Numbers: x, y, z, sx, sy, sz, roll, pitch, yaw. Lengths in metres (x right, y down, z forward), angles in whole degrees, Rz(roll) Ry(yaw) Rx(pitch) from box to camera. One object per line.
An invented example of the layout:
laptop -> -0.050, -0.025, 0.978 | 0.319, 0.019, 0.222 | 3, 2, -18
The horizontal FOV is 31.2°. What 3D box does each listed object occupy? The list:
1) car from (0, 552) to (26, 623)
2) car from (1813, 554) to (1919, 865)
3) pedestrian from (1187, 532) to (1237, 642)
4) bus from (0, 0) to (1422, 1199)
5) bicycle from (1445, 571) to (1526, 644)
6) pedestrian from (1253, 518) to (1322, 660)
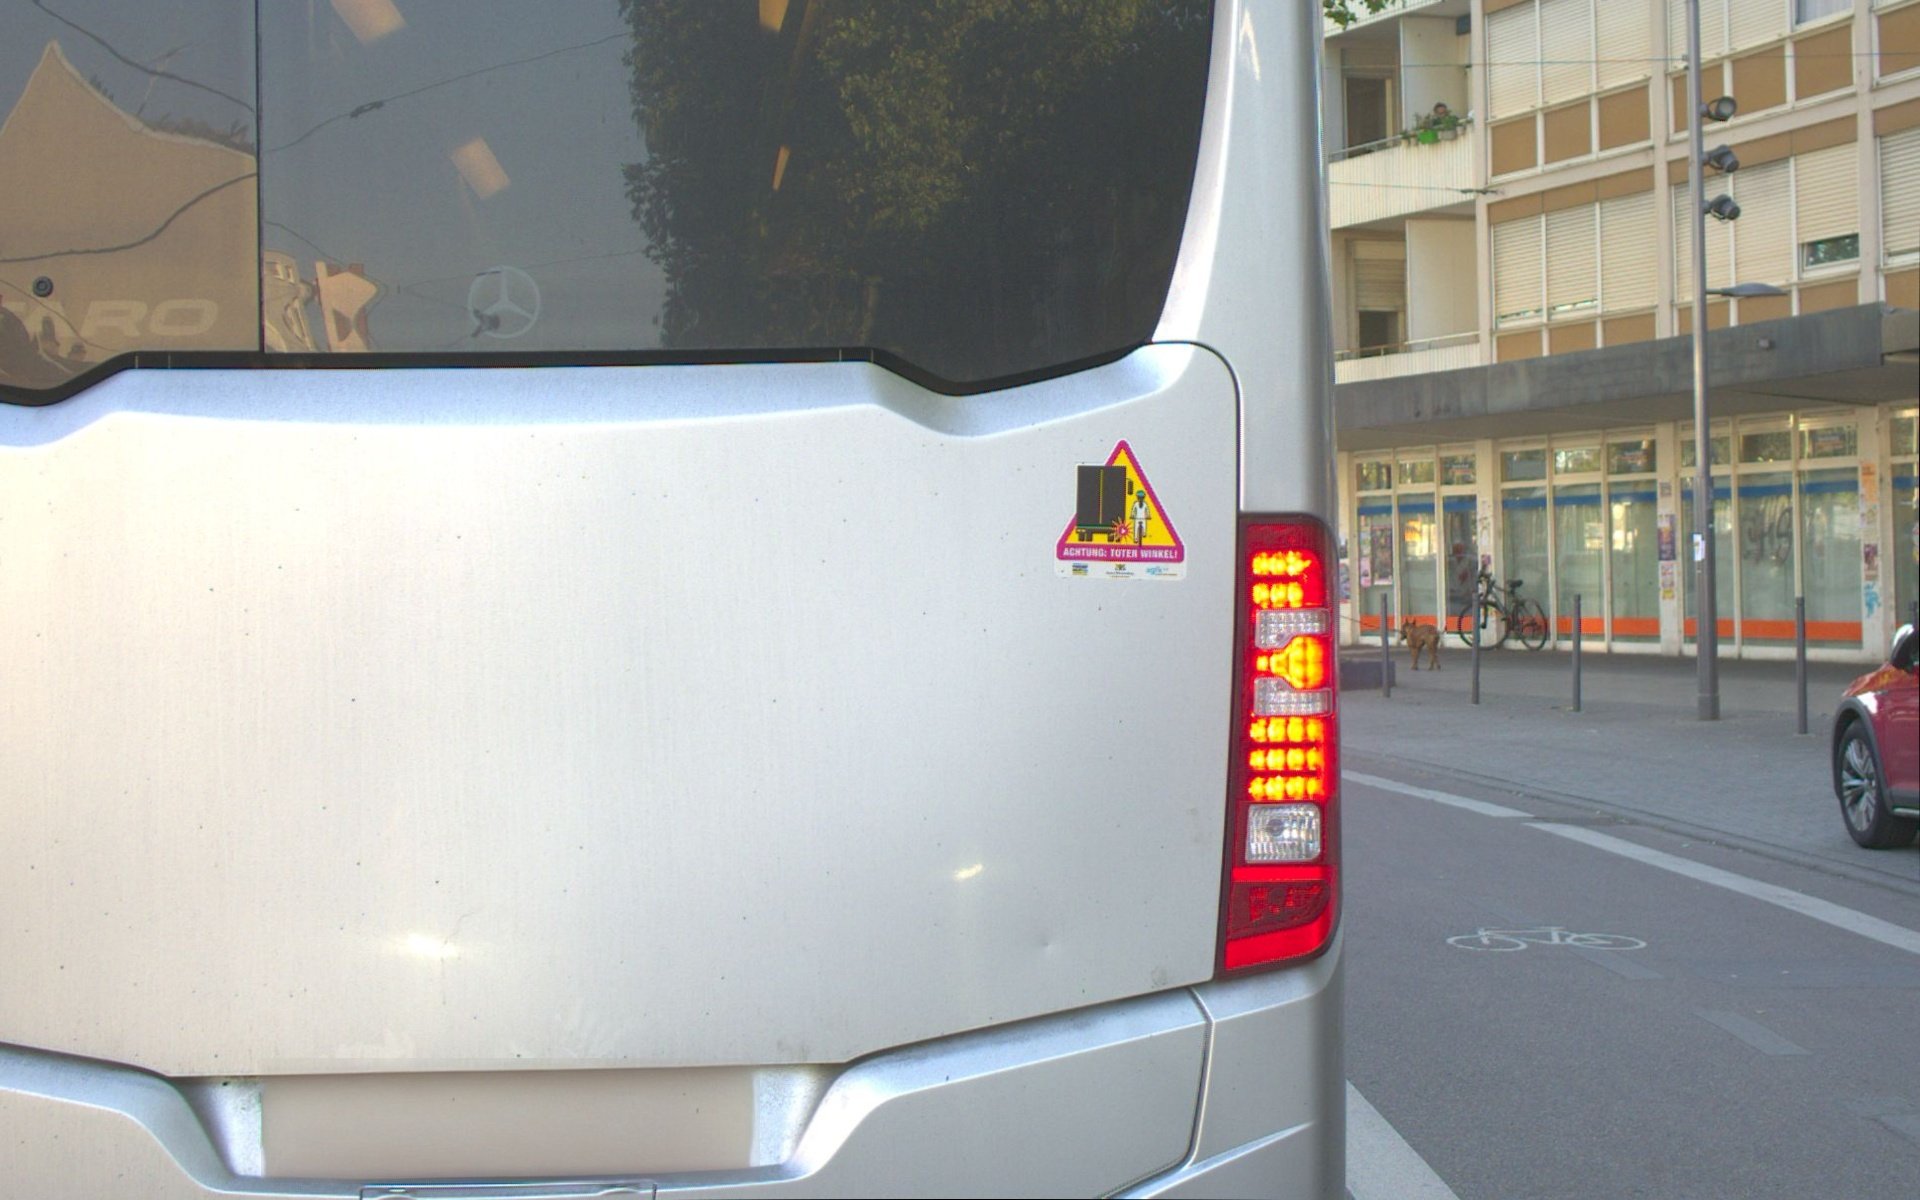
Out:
car -> -25.745, -0.341, 88.052 | 1.994, 1.785, 3.998 | 1, 0, -41
car -> 5.523, 0.508, 15.867 | 1.769, 1.477, 4.304 | -2, 1, -4
pedestrian -> 3.814, -0.195, 52.085 | 0.535, 1.643, 0.616 | -1, 1, -17
bus -> -0.735, -0.137, 9.815 | 2.630, 3.017, 9.998 | 0, 1, -1
bicycle -> 7.000, 0.093, 45.843 | 0.412, 0.941, 1.441 | -1, 1, -20
pedestrian -> 4.009, -0.139, 42.067 | 0.645, 1.711, 0.560 | -1, 1, -16
